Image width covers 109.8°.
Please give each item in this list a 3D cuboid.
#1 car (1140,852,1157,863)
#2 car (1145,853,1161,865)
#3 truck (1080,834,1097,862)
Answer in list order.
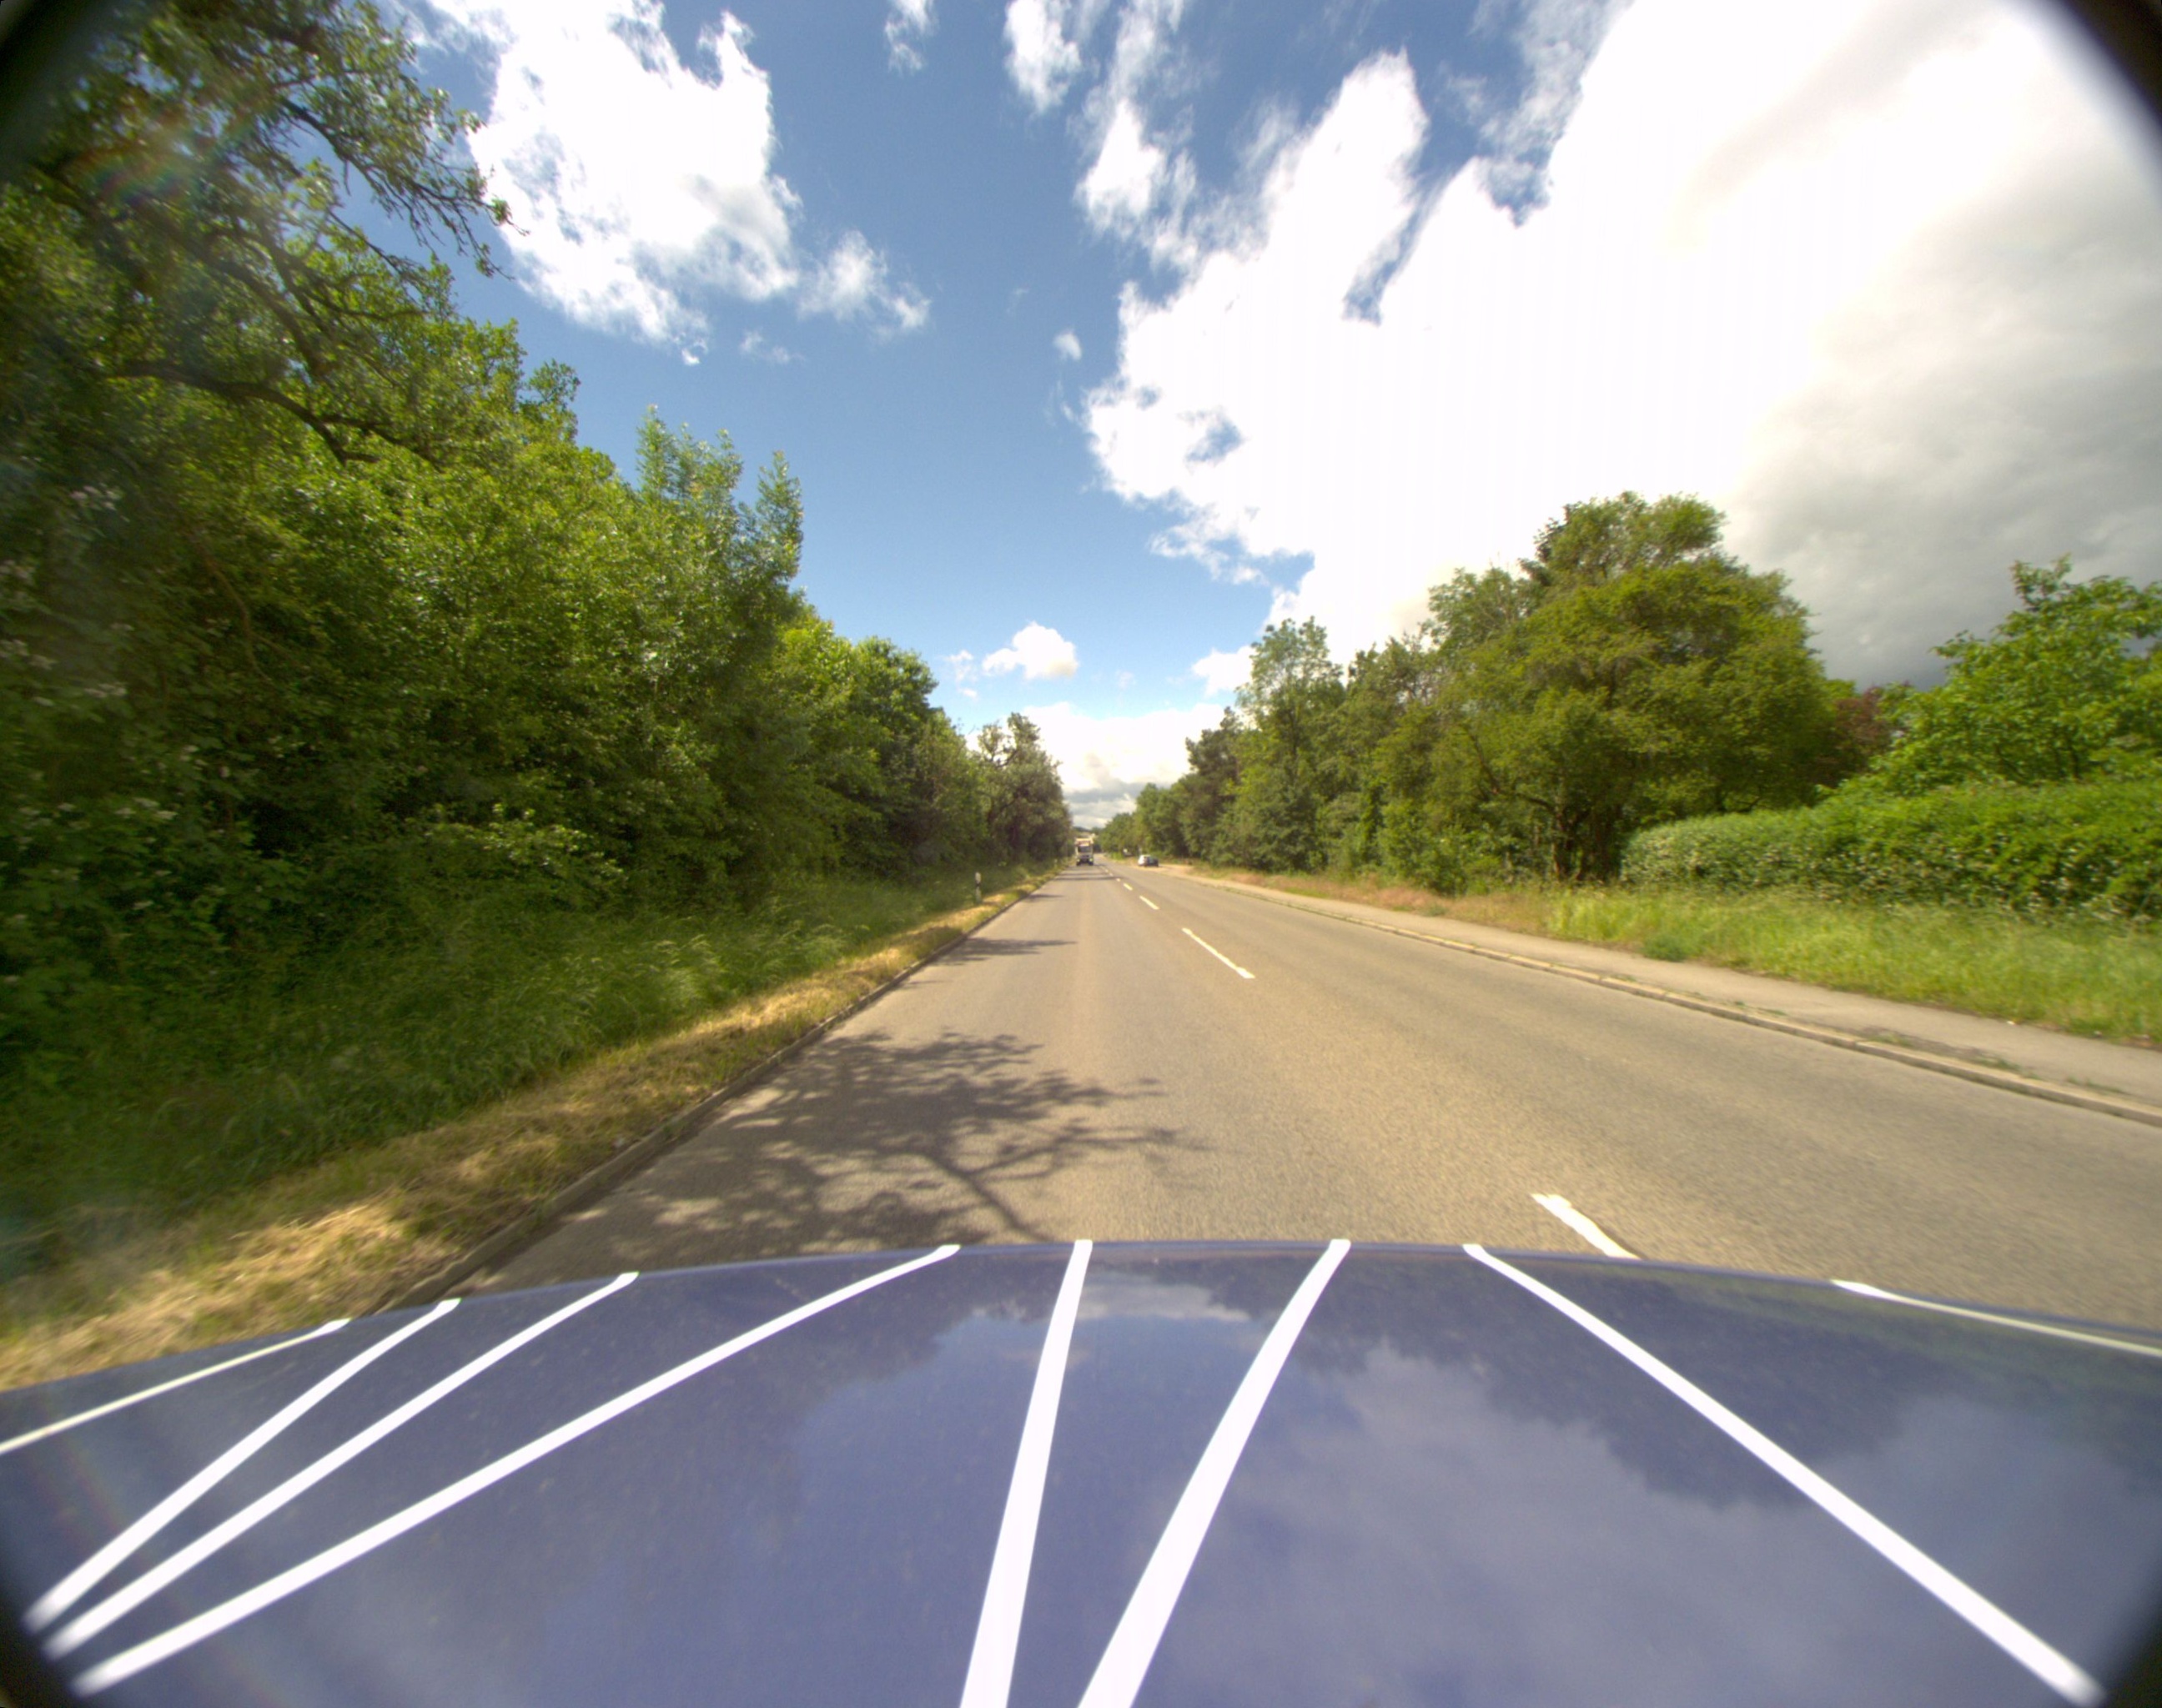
[{"bbox_3d":[8.846,0.446,100.490,1.772,1.461,4.245,-2,0,-1],"label":"car"},{"bbox_3d":[8.764,0.625,92.917,1.772,1.399,4.266,-2,0,3],"label":"car"},{"bbox_3d":[1.062,-0.787,108.935,2.306,3.790,8.182,-2,0,0],"label":"truck"}]
